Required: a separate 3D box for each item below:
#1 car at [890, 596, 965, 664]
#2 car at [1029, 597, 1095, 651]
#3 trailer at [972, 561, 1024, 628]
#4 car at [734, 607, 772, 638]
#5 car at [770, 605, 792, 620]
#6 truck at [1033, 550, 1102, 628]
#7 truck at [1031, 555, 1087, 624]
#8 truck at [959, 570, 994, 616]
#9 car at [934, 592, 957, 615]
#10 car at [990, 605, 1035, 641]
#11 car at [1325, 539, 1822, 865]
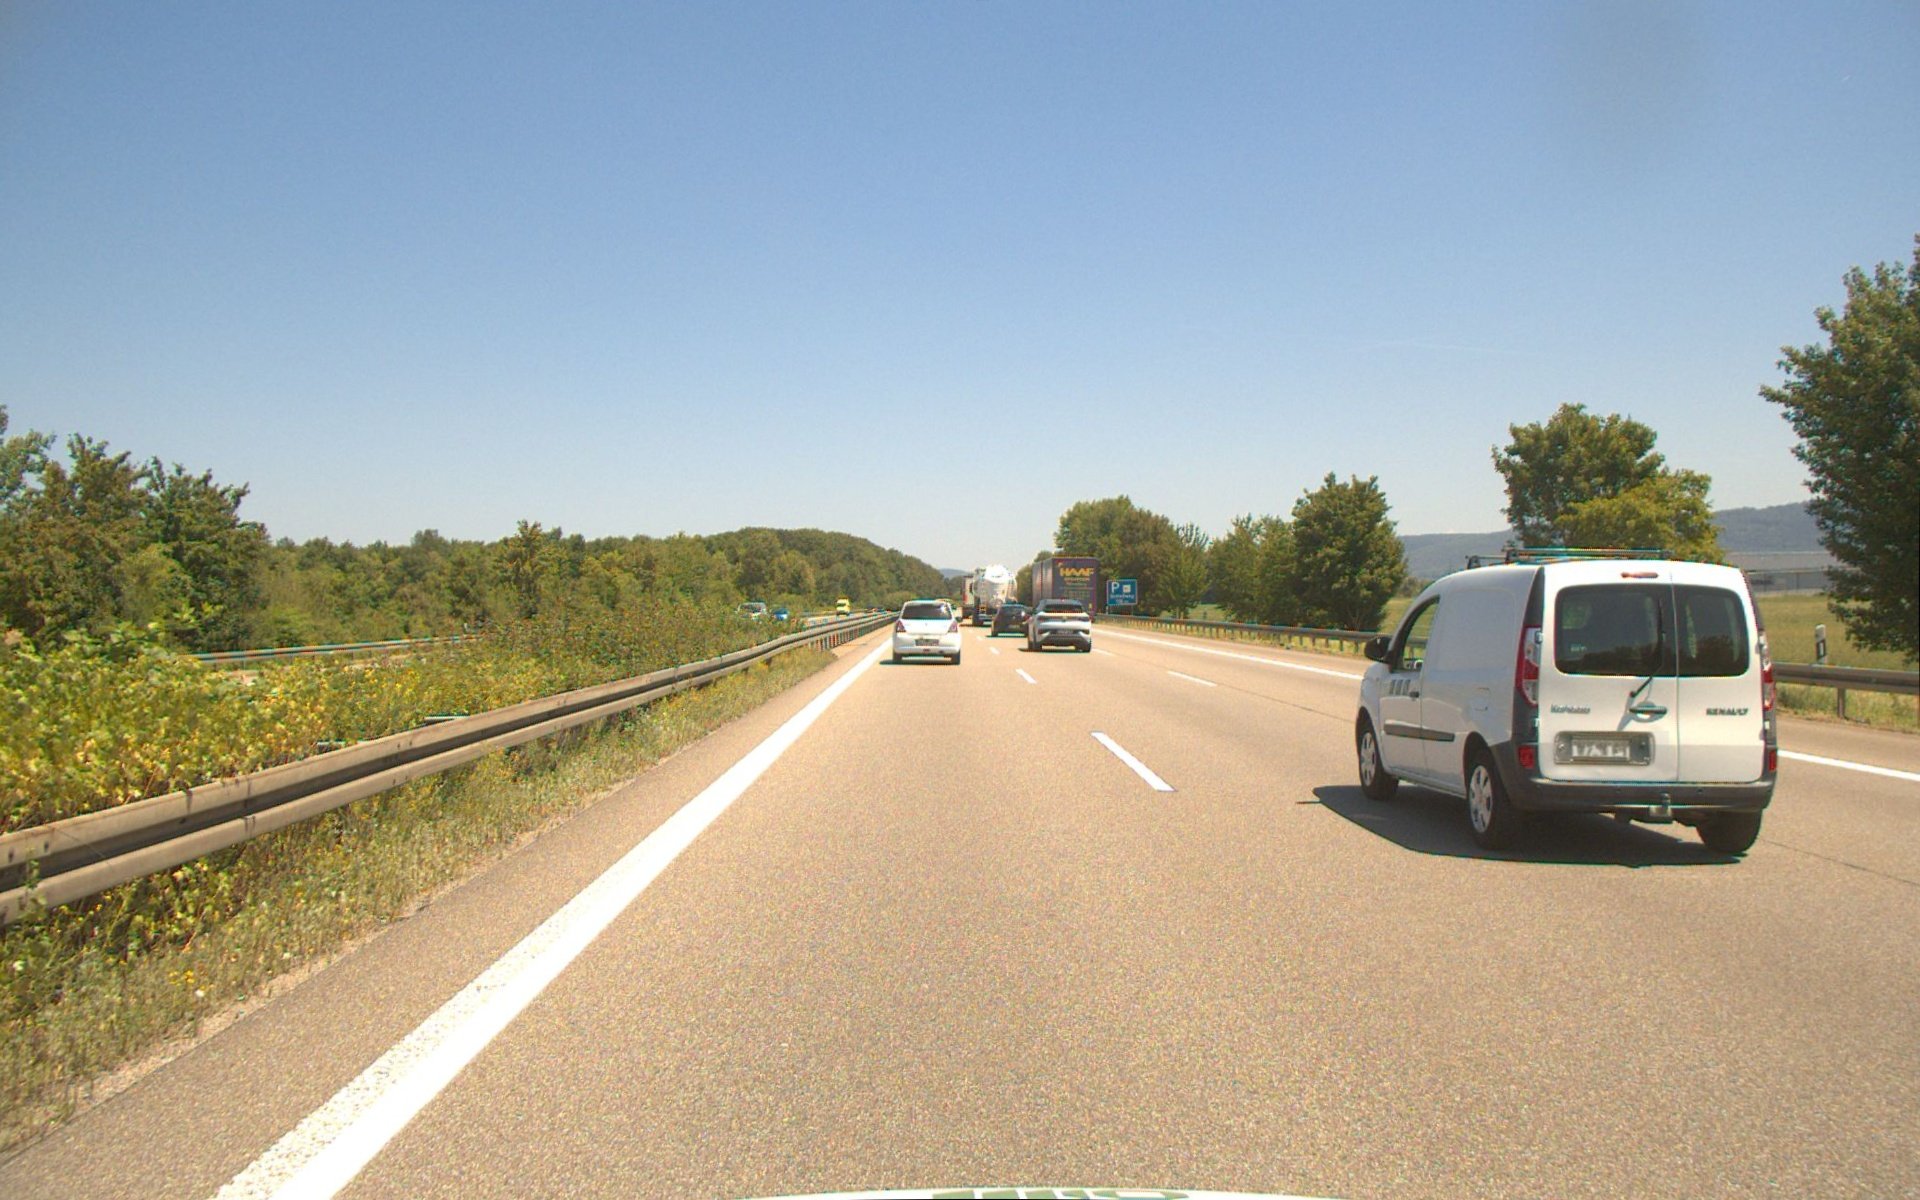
[{"bbox_3d":[-0.819,0.715,41.092,1.763,1.579,3.609,1,0,-2],"label":"car"},{"bbox_3d":[3.213,0.750,52.889,1.765,1.631,4.380,1,0,-1],"label":"car"},{"bbox_3d":[2.392,-0.339,108.748,2.852,4.140,12.415,1,0,-1],"label":"trailer"},{"bbox_3d":[-14.187,1.524,113.608,2.000,1.958,5.225,-3,0,-2],"label":"car"},{"bbox_3d":[-18.218,1.280,168.610,1.531,1.449,3.473,-3,-1,4],"label":"car"},{"bbox_3d":[6.269,-0.604,98.969,3.045,4.211,15.510,1,0,0],"label":"truck"},{"bbox_3d":[6.276,-0.637,106.006,3.045,4.211,8.055,1,0,0],"label":"truck"},{"bbox_3d":[1.554,-0.626,161.874,3.325,4.287,12.082,1,0,0],"label":"truck"},{"bbox_3d":[-1.522,0.375,179.234,2.424,2.395,5.181,1,0,0],"label":"car"},{"bbox_3d":[2.308,1.003,74.067,1.813,1.549,3.956,1,0,-1],"label":"car"},{"bbox_3d":[4.127,0.600,12.062,1.815,1.895,4.701,1,0,-1],"label":"car"}]
